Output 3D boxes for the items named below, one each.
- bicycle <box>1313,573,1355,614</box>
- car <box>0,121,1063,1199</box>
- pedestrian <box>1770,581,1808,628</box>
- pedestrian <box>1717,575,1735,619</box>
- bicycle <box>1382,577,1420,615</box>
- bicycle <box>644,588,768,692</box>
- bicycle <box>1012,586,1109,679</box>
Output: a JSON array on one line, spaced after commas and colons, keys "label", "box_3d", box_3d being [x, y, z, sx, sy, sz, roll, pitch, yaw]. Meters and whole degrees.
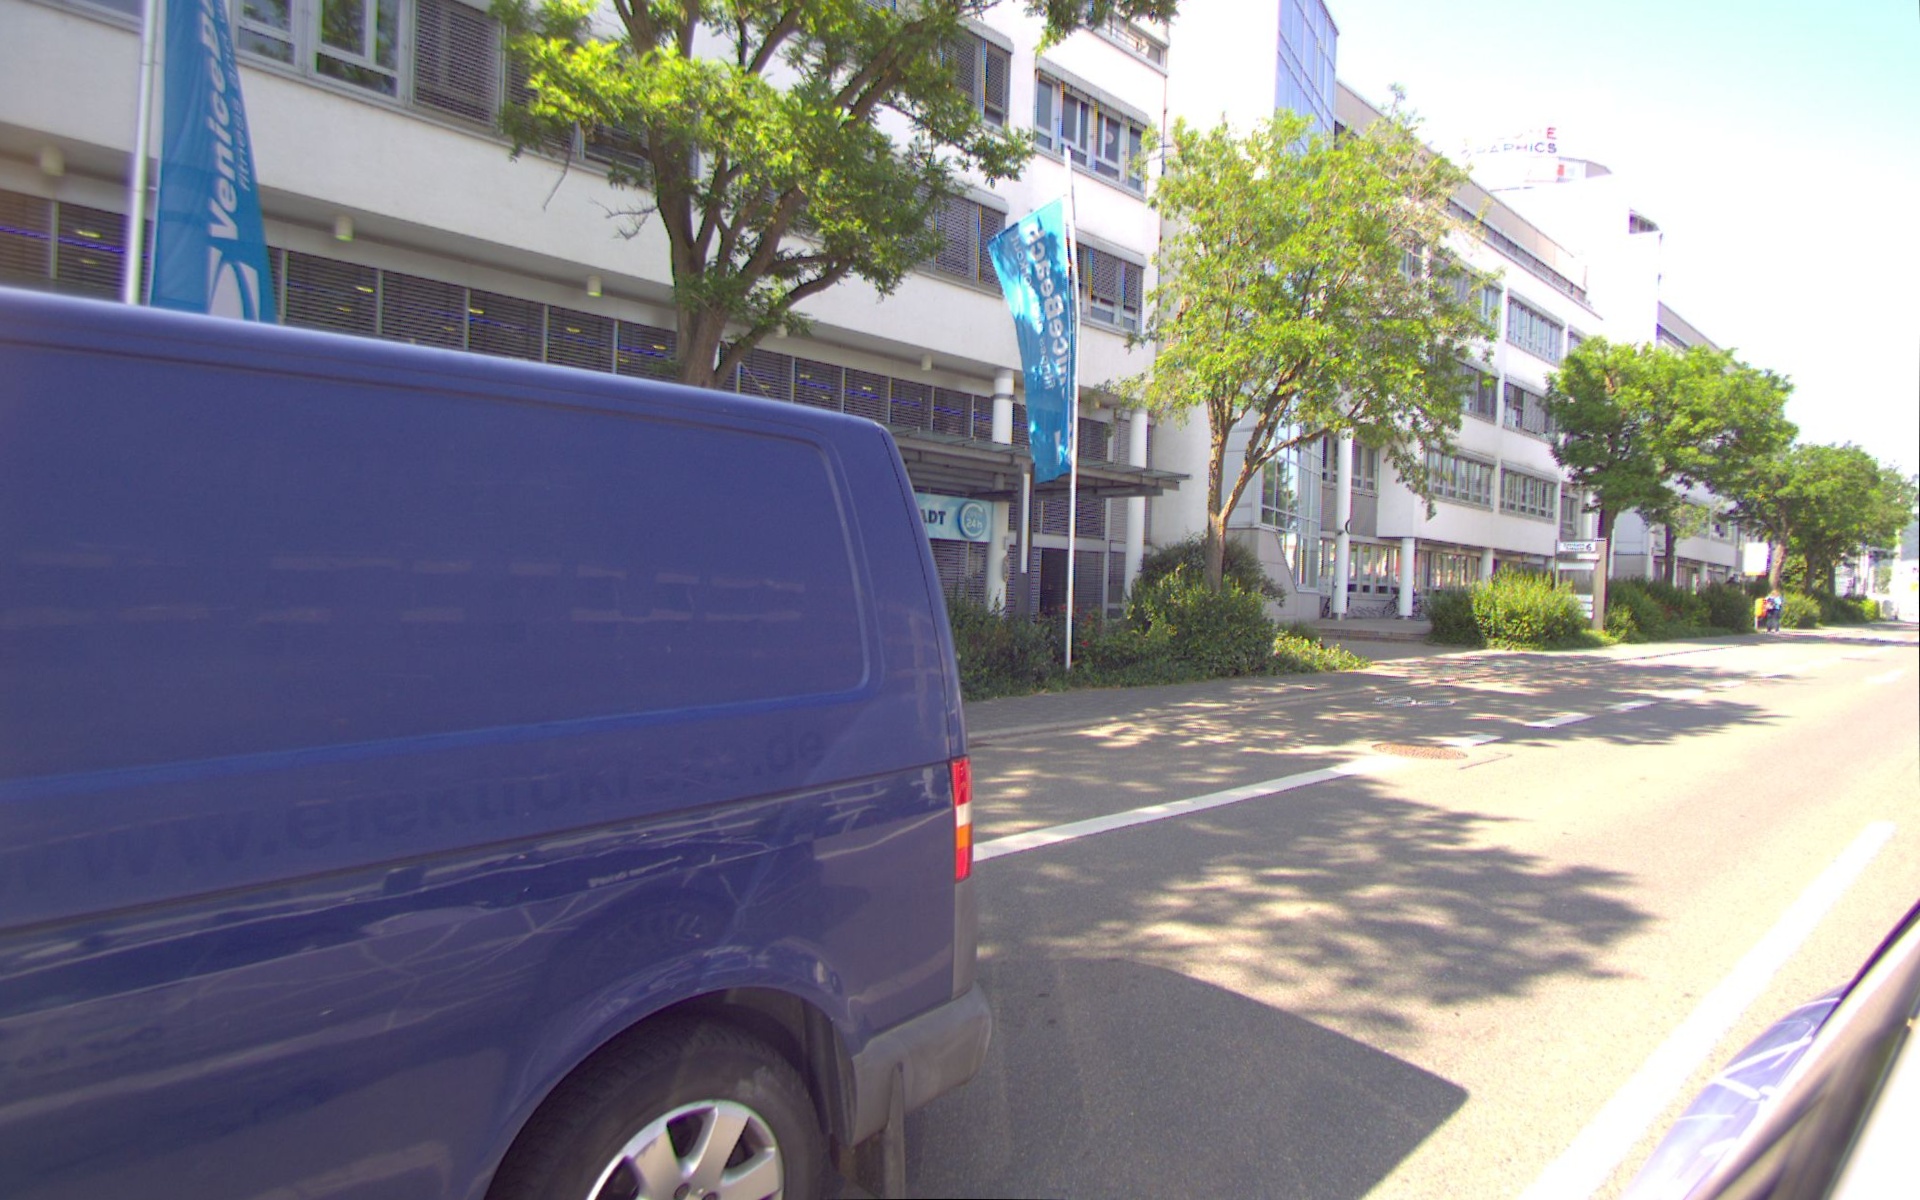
[{"label": "bicycle", "box_3d": [12.913, -0.217, 34.898, 1.852, 1.371, 0.506, 0, 1, -41]}, {"label": "car", "box_3d": [-2.223, 0.408, 1.548, 4.806, 1.972, 1.997, -1, 2, -41]}, {"label": "pedestrian", "box_3d": [35.201, 0.165, 42.952, 1.267, 1.909, 0.942, 0, 4, -41]}, {"label": "pedestrian", "box_3d": [45.542, -0.174, 60.179, 0.704, 2.581, 0.716, 0, 1, -43]}, {"label": "bicycle", "box_3d": [16.365, -0.149, 37.531, 1.852, 1.371, 0.506, 0, 1, -41]}, {"label": "bicycle", "box_3d": [-3.625, 0.535, 14.385, 1.868, 1.346, 0.501, 2, 1, 30]}, {"label": "bicycle", "box_3d": [1.584, 0.476, 15.700, 0.504, 1.346, 1.856, 2, 1, 41]}]
